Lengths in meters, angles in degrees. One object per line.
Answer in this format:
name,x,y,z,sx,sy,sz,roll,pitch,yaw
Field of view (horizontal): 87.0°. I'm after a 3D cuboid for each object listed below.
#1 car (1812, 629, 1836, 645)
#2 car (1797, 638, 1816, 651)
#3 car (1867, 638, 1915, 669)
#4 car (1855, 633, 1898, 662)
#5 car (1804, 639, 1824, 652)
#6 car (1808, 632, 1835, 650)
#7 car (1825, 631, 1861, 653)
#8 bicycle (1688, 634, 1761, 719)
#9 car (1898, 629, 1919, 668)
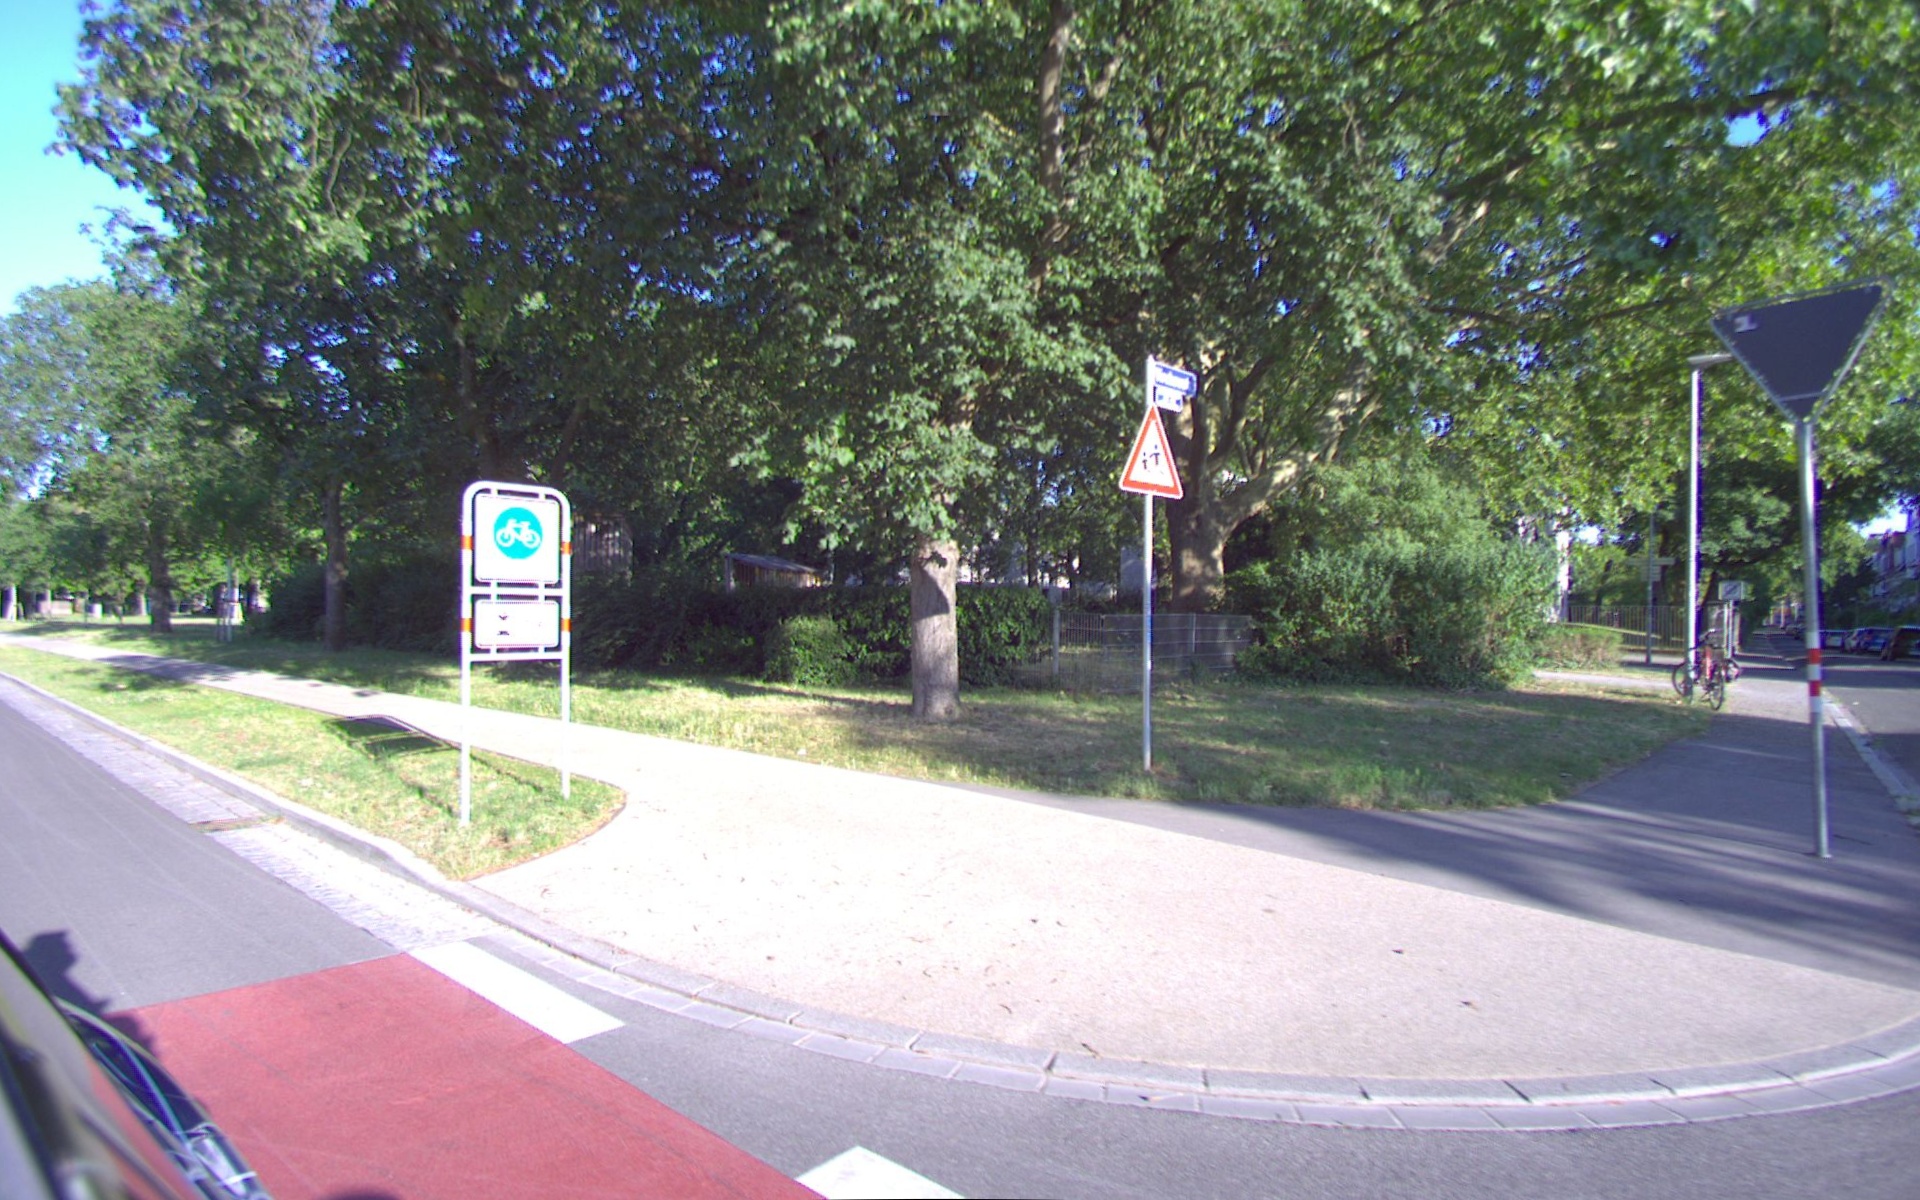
car,89.966,3.839,105.375,1.833,1.567,3.944,-1,-2,42
car,110.245,5.802,131.818,1.832,1.567,3.947,-1,-2,40
car,50.028,2.844,54.376,1.833,1.567,3.943,-1,-2,43
car,53.586,2.761,59.160,1.833,1.567,3.943,-1,-2,43
car,105.535,5.640,125.126,1.832,1.567,3.947,-1,-2,40
car,78.557,3.686,92.255,1.832,1.567,3.946,-1,-2,40
car,66.943,3.142,76.766,1.831,1.567,3.947,-1,-2,39
bicycle,11.749,1.140,15.595,0.417,1.196,1.579,1,-1,19
car,40.099,1.995,41.877,1.833,1.567,3.943,-1,-2,43
